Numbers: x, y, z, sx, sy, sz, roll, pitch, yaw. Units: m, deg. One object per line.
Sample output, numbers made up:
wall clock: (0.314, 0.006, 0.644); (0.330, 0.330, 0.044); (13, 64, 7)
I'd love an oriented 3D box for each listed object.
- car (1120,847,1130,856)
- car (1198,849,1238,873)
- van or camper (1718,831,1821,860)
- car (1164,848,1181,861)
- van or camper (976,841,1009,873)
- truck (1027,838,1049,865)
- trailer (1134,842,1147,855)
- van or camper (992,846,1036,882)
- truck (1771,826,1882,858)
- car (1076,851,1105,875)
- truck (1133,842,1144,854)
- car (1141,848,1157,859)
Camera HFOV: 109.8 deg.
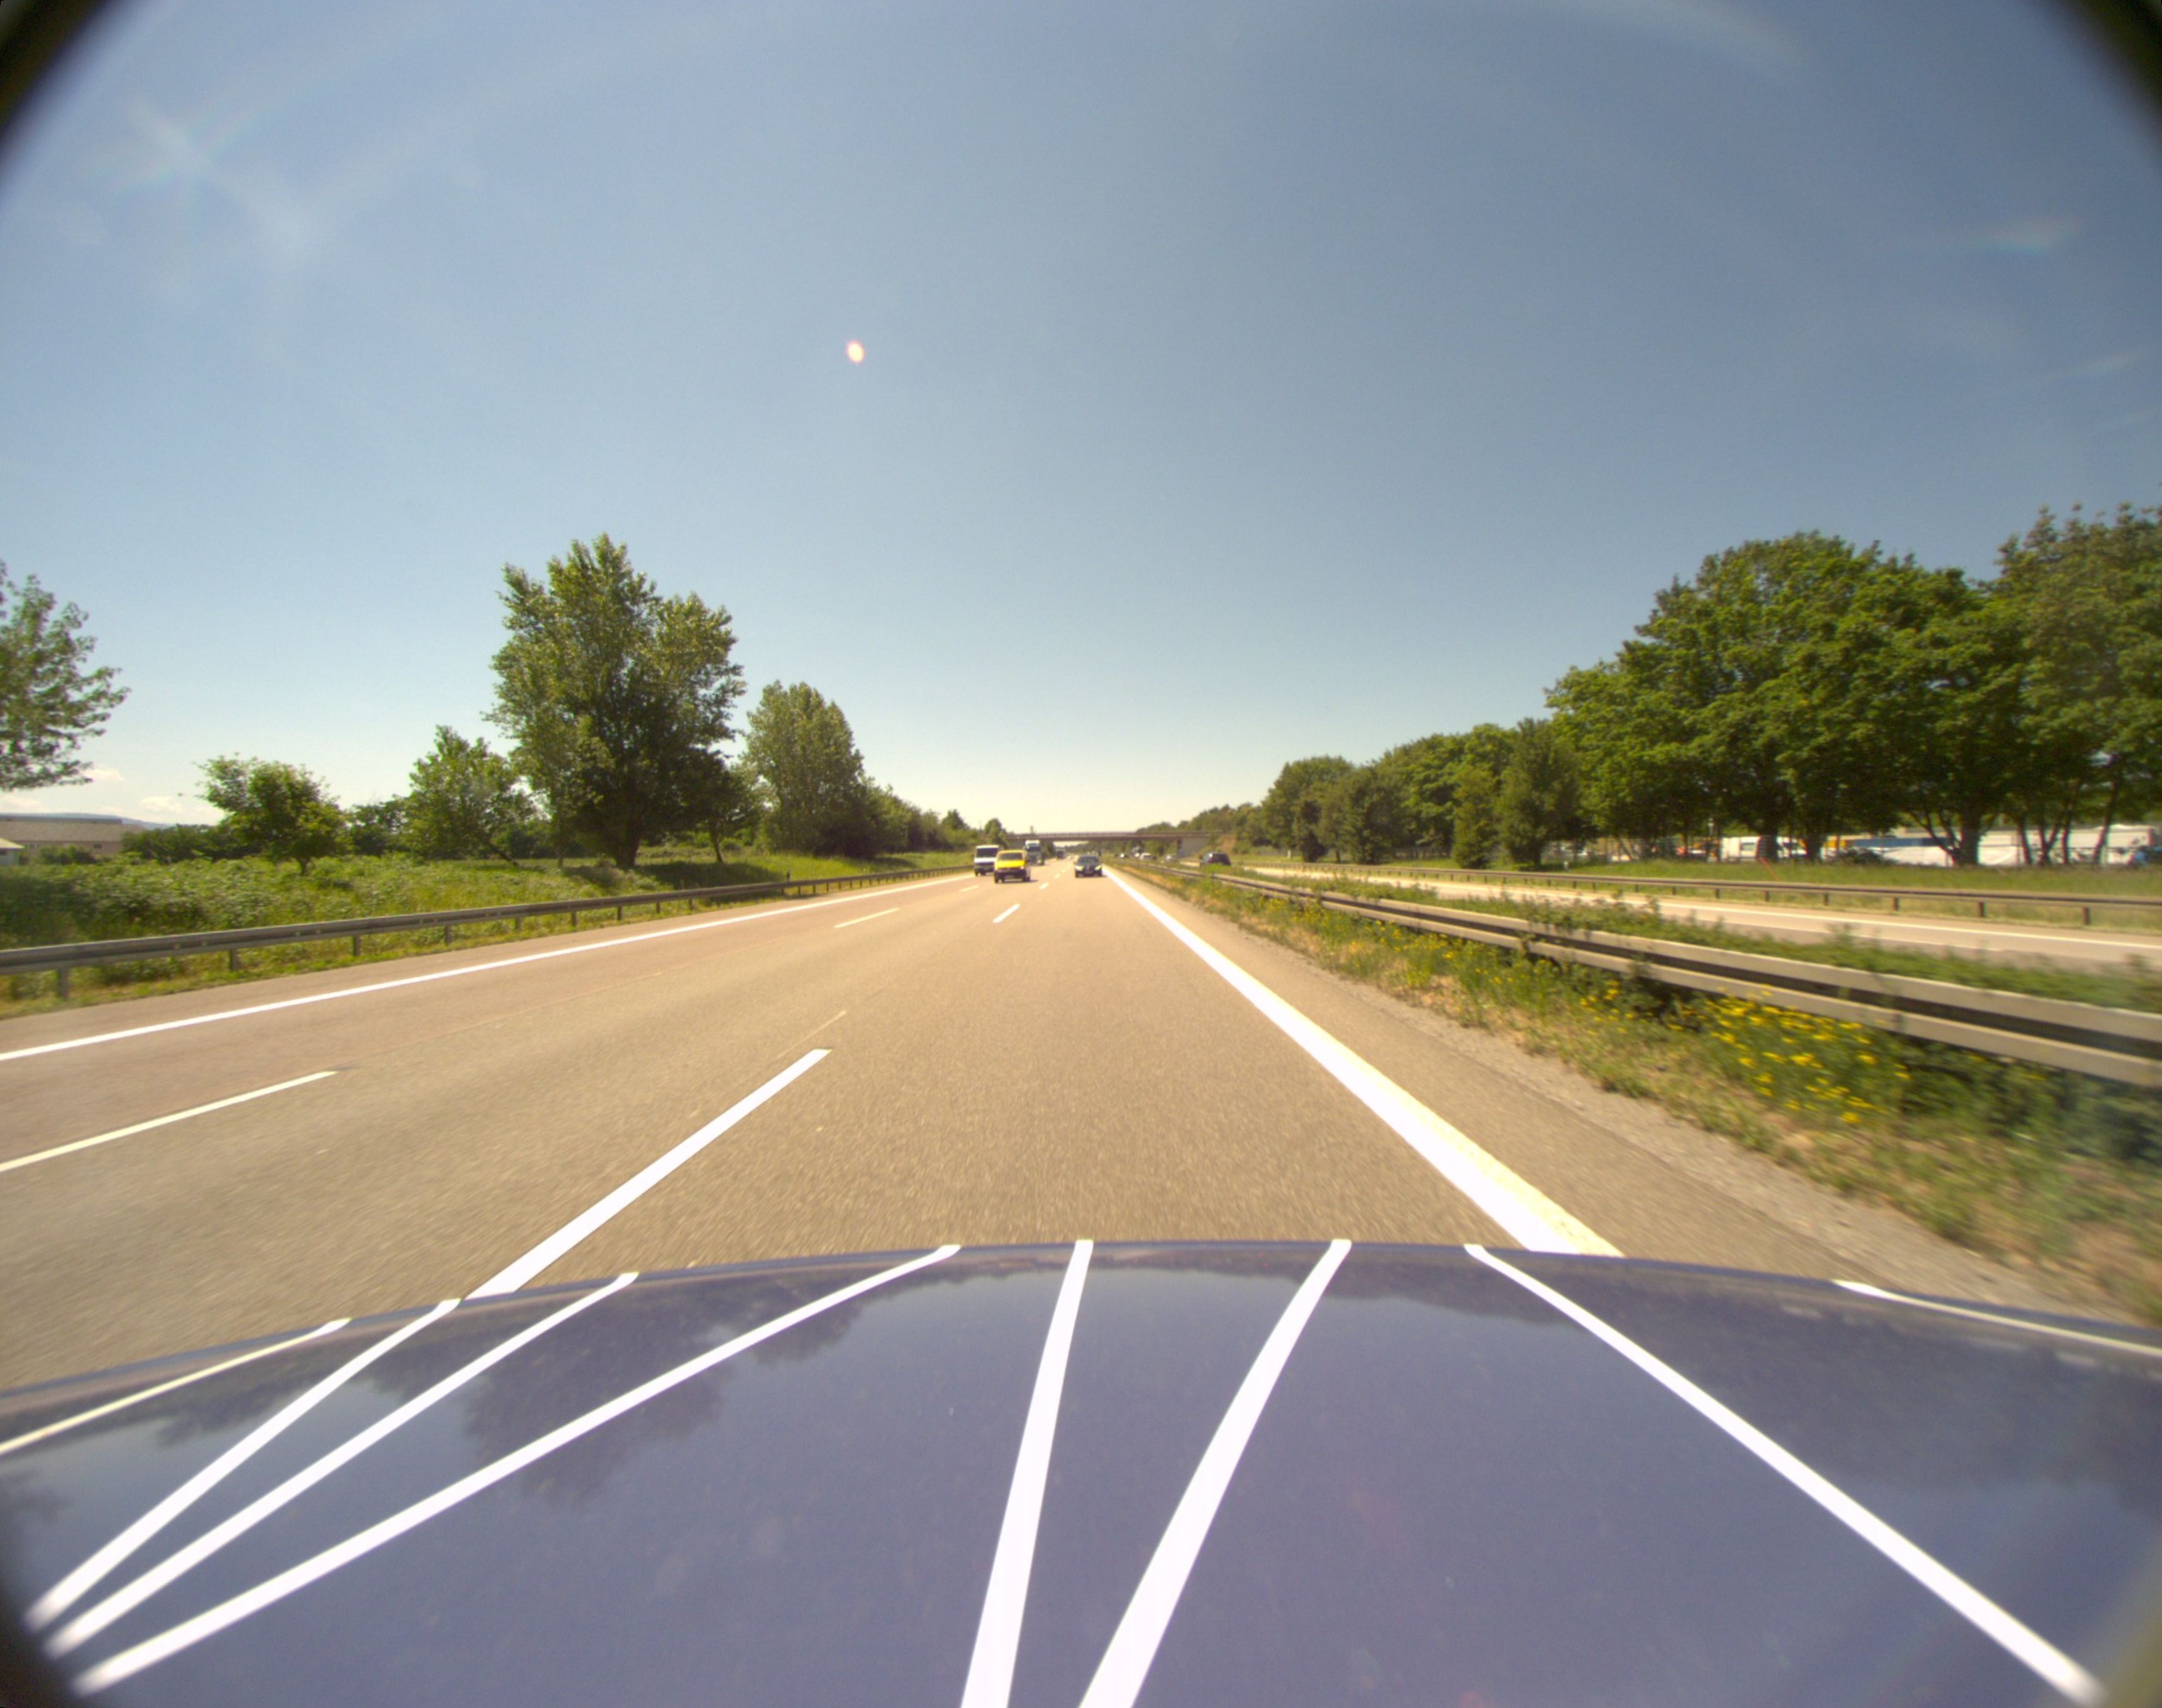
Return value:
car: (9.921, -0.628, 171.254); (1.998, 1.875, 5.647); (-3, 1, 0)
car: (10.065, 0.465, 56.201); (1.998, 1.630, 4.858); (3, 1, 0)
van or camper: (63.256, -0.769, 70.091); (2.363, 2.537, 7.723); (0, 0, -1)
car: (13.410, 0.107, 111.183); (1.877, 1.783, 4.423); (-3, 1, 1)
van or camper: (-7.779, 0.234, 67.218); (2.119, 2.687, 6.366); (-2, 1, -1)
truck: (-6.930, -0.373, 123.886); (2.806, 4.022, 13.352); (-3, 0, -1)
trailer: (19.402, -1.863, 249.243); (2.886, 3.955, 17.472); (2, 0, 0)
van or camper: (-4.053, 0.562, 47.026); (2.063, 1.992, 5.883); (-2, 0, 1)
truck: (78.290, -1.258, 80.092); (3.558, 3.173, 8.295); (0, 0, 1)
car: (0.624, 0.613, 51.917); (1.894, 1.541, 4.038); (0, 0, -1)
truck: (19.416, -1.925, 255.734); (2.886, 3.952, 7.371); (2, 0, 0)
car: (10.711, -0.136, 119.695); (1.998, 1.630, 4.572); (-3, 1, 1)
